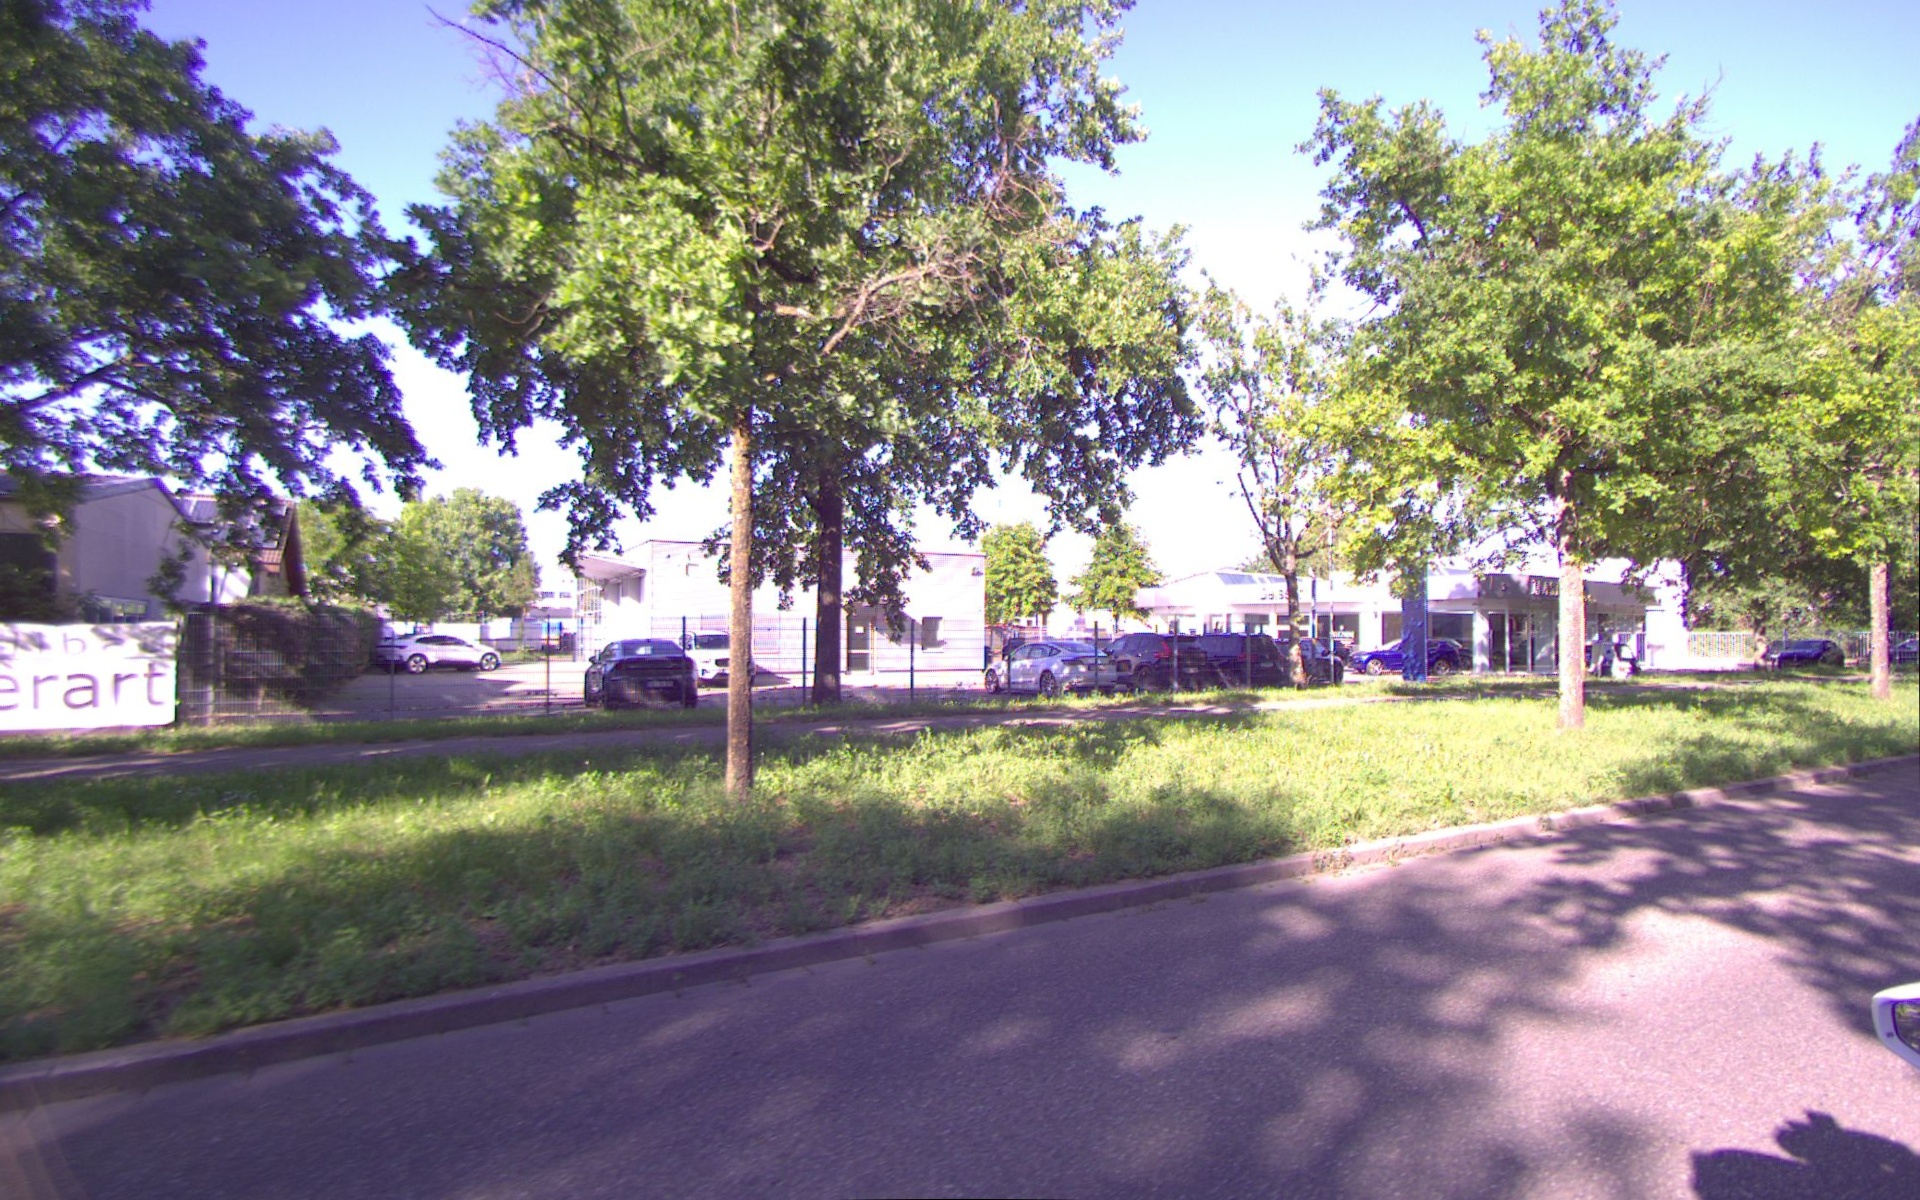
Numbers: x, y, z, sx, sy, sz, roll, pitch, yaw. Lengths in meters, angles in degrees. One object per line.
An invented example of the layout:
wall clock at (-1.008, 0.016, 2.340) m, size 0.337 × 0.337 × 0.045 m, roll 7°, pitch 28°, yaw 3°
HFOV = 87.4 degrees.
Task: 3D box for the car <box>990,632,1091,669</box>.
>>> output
car at (3.990, 2.422, 49.171) m, size 5.225 × 1.683 × 1.974 m, roll 2°, pitch 0°, yaw -45°

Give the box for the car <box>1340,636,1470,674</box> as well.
car at (20.658, 2.557, 46.842) m, size 5.153 × 1.683 × 2.001 m, roll -1°, pitch 0°, yaw 7°

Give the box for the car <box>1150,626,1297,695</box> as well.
car at (7.593, 1.704, 29.309) m, size 1.975 × 1.765 × 3.971 m, roll 1°, pitch 0°, yaw -28°

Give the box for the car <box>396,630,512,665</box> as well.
car at (-23.812, 2.205, 47.420) m, size 1.723 × 1.539 × 4.592 m, roll 1°, pitch 0°, yaw 44°

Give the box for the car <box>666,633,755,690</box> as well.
car at (-7.867, 1.862, 31.404) m, size 1.730 × 1.539 × 3.969 m, roll 1°, pitch 0°, yaw -29°

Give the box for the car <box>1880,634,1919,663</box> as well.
car at (61.447, 3.115, 64.013) m, size 1.983 × 1.825 × 3.954 m, roll 1°, pitch 0°, yaw -39°

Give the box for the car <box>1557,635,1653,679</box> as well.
car at (22.601, 1.964, 35.282) m, size 1.402 × 1.489 × 2.568 m, roll 0°, pitch -2°, yaw -15°

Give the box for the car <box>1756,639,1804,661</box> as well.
car at (64.550, 3.895, 79.038) m, size 4.844 × 1.587 × 1.977 m, roll 2°, pitch 0°, yaw -39°

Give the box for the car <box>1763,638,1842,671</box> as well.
car at (45.452, 2.912, 54.176) m, size 4.962 × 1.619 × 1.981 m, roll 1°, pitch 0°, yaw -34°

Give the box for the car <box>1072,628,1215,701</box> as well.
car at (5.026, 1.731, 28.021) m, size 1.839 × 1.769 × 3.969 m, roll 1°, pitch 0°, yaw -29°

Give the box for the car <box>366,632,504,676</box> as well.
car at (-20.856, 2.106, 40.092) m, size 1.718 × 1.539 × 4.607 m, roll 1°, pitch 0°, yaw 33°

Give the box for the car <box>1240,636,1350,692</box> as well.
car at (11.639, 2.138, 34.717) m, size 1.971 × 1.697 × 4.475 m, roll 1°, pitch 0°, yaw 42°

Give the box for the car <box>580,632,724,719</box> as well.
car at (-6.689, 1.523, 21.538) m, size 2.172 × 1.539 × 3.969 m, roll 1°, pitch 0°, yaw -29°

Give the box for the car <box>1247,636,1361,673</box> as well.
car at (16.821, 2.654, 49.301) m, size 4.914 × 1.683 × 1.999 m, roll -1°, pitch 0°, yaw -5°

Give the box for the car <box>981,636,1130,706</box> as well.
car at (2.431, 1.798, 26.614) m, size 1.839 × 1.539 × 4.292 m, roll 1°, pitch 0°, yaw -29°

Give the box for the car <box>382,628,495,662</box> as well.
car at (-25.515, 2.182, 49.252) m, size 1.723 × 1.539 × 4.592 m, roll 1°, pitch 0°, yaw 44°

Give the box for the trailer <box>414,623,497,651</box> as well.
trailer at (-37.489, 2.777, 74.698) m, size 5.096 × 2.040 × 2.001 m, roll 0°, pitch -2°, yaw 1°
